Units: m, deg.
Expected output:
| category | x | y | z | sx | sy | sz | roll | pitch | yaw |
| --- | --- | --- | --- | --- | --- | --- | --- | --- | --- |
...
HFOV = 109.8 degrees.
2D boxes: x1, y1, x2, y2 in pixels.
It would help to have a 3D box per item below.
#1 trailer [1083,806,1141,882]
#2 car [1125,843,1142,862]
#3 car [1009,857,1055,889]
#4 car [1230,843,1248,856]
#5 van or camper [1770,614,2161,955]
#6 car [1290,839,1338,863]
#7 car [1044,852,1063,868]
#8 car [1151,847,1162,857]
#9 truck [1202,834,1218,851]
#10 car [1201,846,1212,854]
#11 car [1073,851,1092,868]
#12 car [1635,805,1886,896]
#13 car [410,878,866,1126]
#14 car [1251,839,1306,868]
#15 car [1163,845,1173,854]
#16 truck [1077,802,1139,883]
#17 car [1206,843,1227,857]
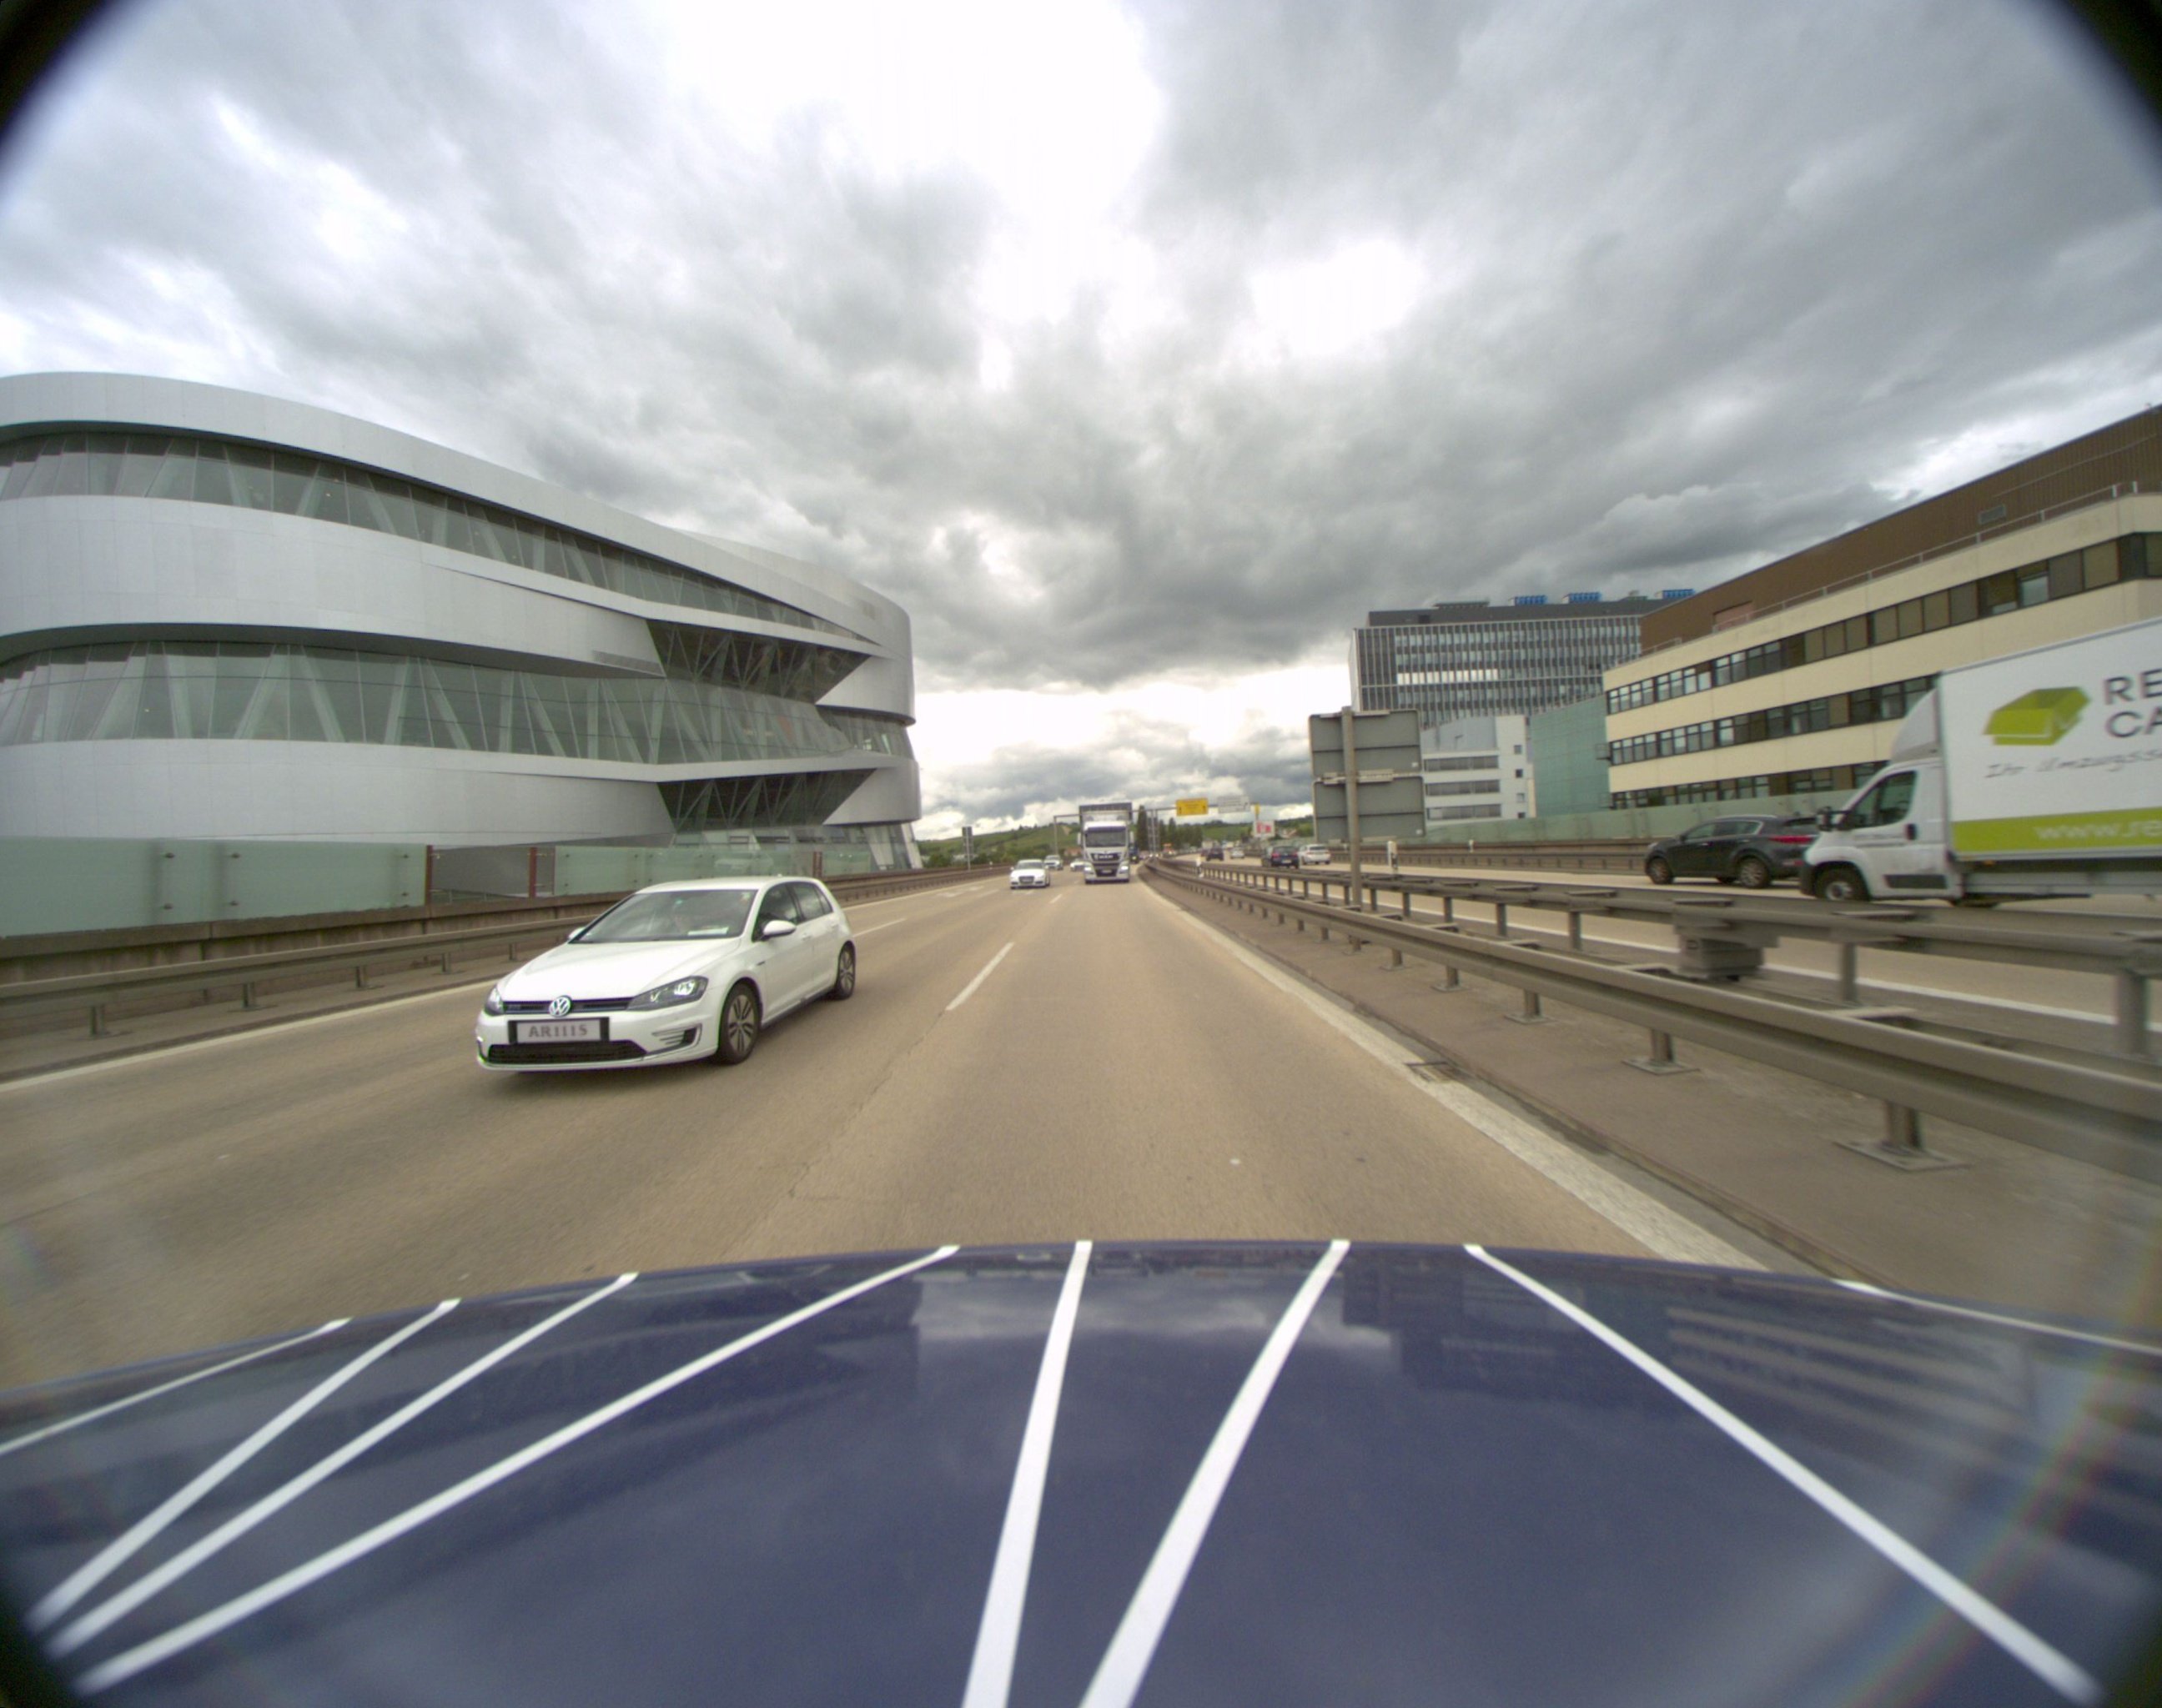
| category | x | y | z | sx | sy | sz | roll | pitch | yaw |
| --- | --- | --- | --- | --- | --- | --- | --- | --- | --- |
| trailer | 2.166 | -0.596 | 47.874 | 2.879 | 4.104 | 11.223 | -2 | 0 | 5 |
| car | 7.298 | -0.269 | 106.218 | 2.144 | 2.494 | 4.524 | -2 | 1 | 2 |
| car | -2.471 | 0.929 | 39.085 | 1.848 | 1.443 | 3.933 | -3 | 0 | 3 |
| car | 20.707 | -0.580 | 99.836 | 1.687 | 1.588 | 3.686 | -2 | 0 | 3 |
| van or camper | 11.892 | -0.733 | 8.296 | 2.410 | 3.368 | 6.954 | -2 | 1 | 1 |
| car | 16.403 | -0.215 | 53.754 | 1.922 | 1.602 | 4.814 | -2 | 0 | 1 |
| car | -2.947 | 0.639 | 82.645 | 1.785 | 1.624 | 3.627 | -2 | 1 | 1 |
| car | 16.189 | -0.368 | 162.629 | 1.997 | 2.002 | 4.002 | -2 | 1 | 7 |
| truck | 30.511 | -2.726 | 180.015 | 3.268 | 3.836 | 13.060 | -3 | 0 | 9 |
| car | 23.392 | -0.700 | 141.455 | 1.758 | 1.474 | 4.093 | -2 | 0 | 7 |
| car | 0.162 | 0.517 | 76.077 | 1.765 | 1.624 | 3.627 | -2 | 1 | 1 |
| car | 15.224 | -0.062 | 17.424 | 1.759 | 1.737 | 4.368 | -2 | 0 | -1 |
| car | -3.484 | 1.038 | 7.026 | 1.759 | 1.443 | 4.072 | -2 | 0 | 0 |
| car | 12.167 | -0.033 | 47.079 | 2.027 | 1.602 | 4.813 | -2 | 0 | -2 |
| car | 21.961 | -1.160 | 191.893 | 1.996 | 2.002 | 4.003 | -2 | 1 | 14 |
| truck | 1.649 | -0.619 | 42.553 | 2.945 | 4.136 | 6.293 | -2 | 1 | 5 |
| car | 16.122 | -0.462 | 90.660 | 1.758 | 1.609 | 4.815 | -2 | 0 | 3 |
